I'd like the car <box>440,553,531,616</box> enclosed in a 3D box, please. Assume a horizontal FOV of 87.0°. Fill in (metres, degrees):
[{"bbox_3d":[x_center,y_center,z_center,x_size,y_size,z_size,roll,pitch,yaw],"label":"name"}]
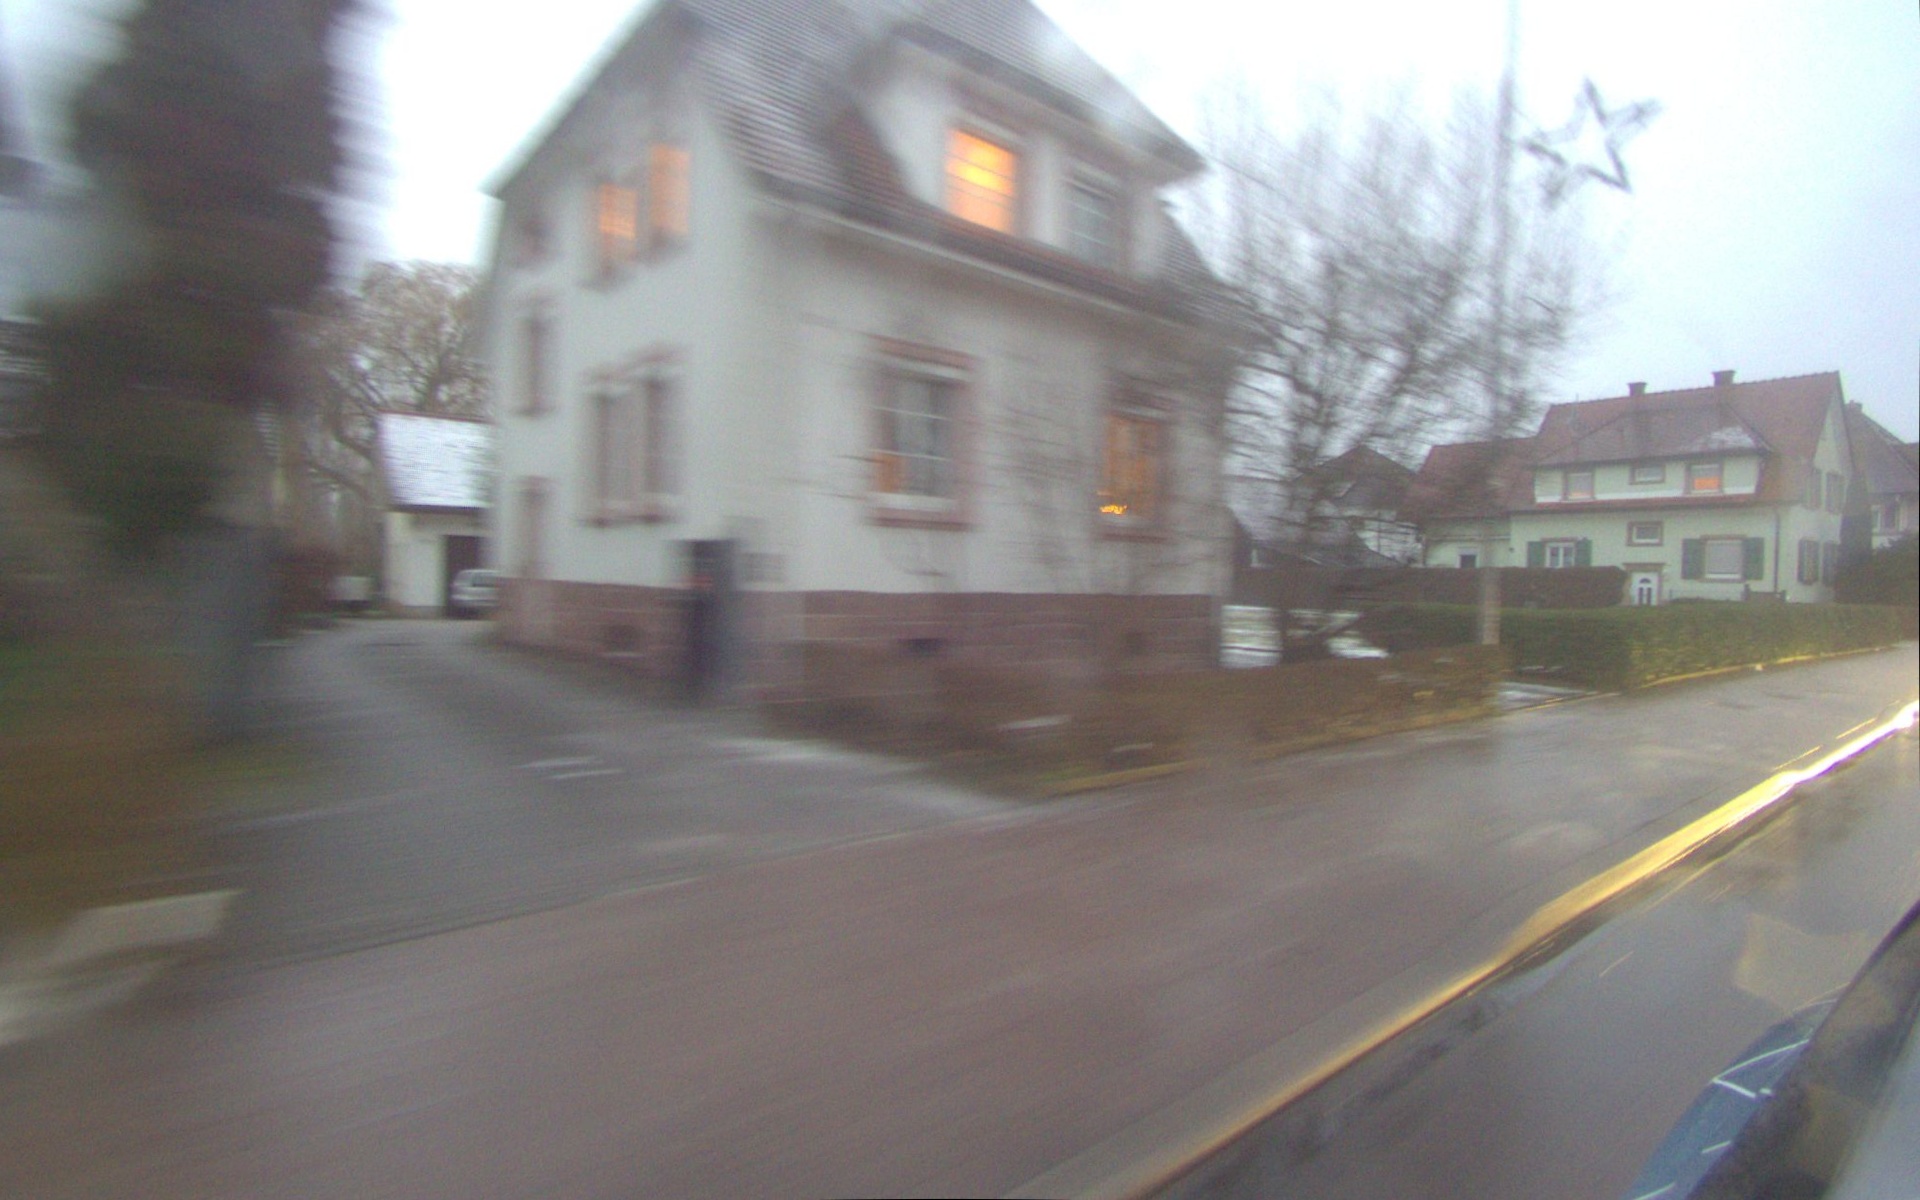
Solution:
[{"bbox_3d":[-13.765,-0.441,29.242,1.775,1.683,4.025,0,1,-34],"label":"car"}]
